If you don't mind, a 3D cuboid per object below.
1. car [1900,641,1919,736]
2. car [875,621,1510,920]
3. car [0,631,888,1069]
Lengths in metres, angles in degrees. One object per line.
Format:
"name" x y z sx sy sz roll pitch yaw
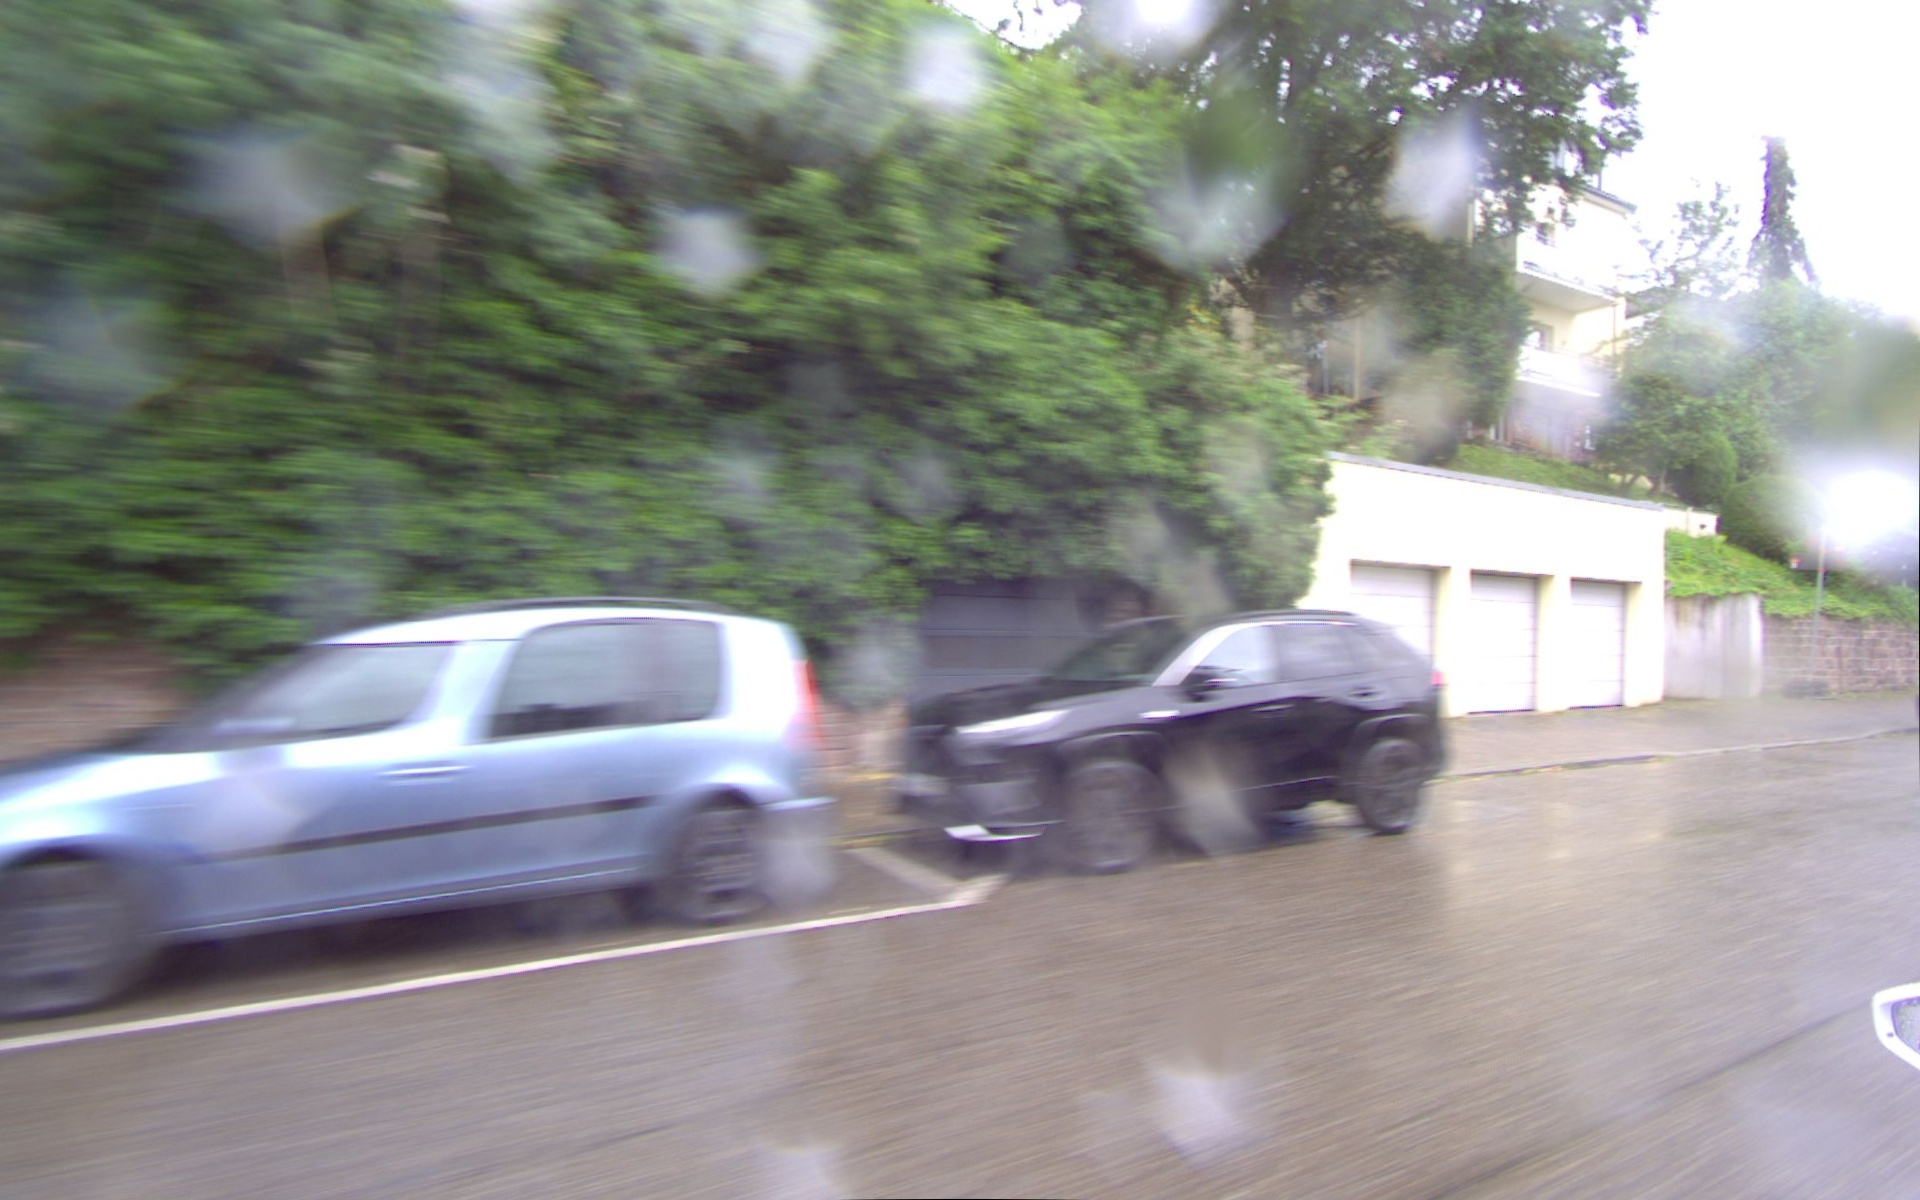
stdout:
"car" 17.336 1.346 16.222 4.698 1.473 1.778 0 -4 -30
"car" 1.824 1.044 7.550 4.537 1.647 1.867 0 -5 -29
"car" -2.577 0.989 5.160 4.058 1.581 1.735 1 -4 -28
